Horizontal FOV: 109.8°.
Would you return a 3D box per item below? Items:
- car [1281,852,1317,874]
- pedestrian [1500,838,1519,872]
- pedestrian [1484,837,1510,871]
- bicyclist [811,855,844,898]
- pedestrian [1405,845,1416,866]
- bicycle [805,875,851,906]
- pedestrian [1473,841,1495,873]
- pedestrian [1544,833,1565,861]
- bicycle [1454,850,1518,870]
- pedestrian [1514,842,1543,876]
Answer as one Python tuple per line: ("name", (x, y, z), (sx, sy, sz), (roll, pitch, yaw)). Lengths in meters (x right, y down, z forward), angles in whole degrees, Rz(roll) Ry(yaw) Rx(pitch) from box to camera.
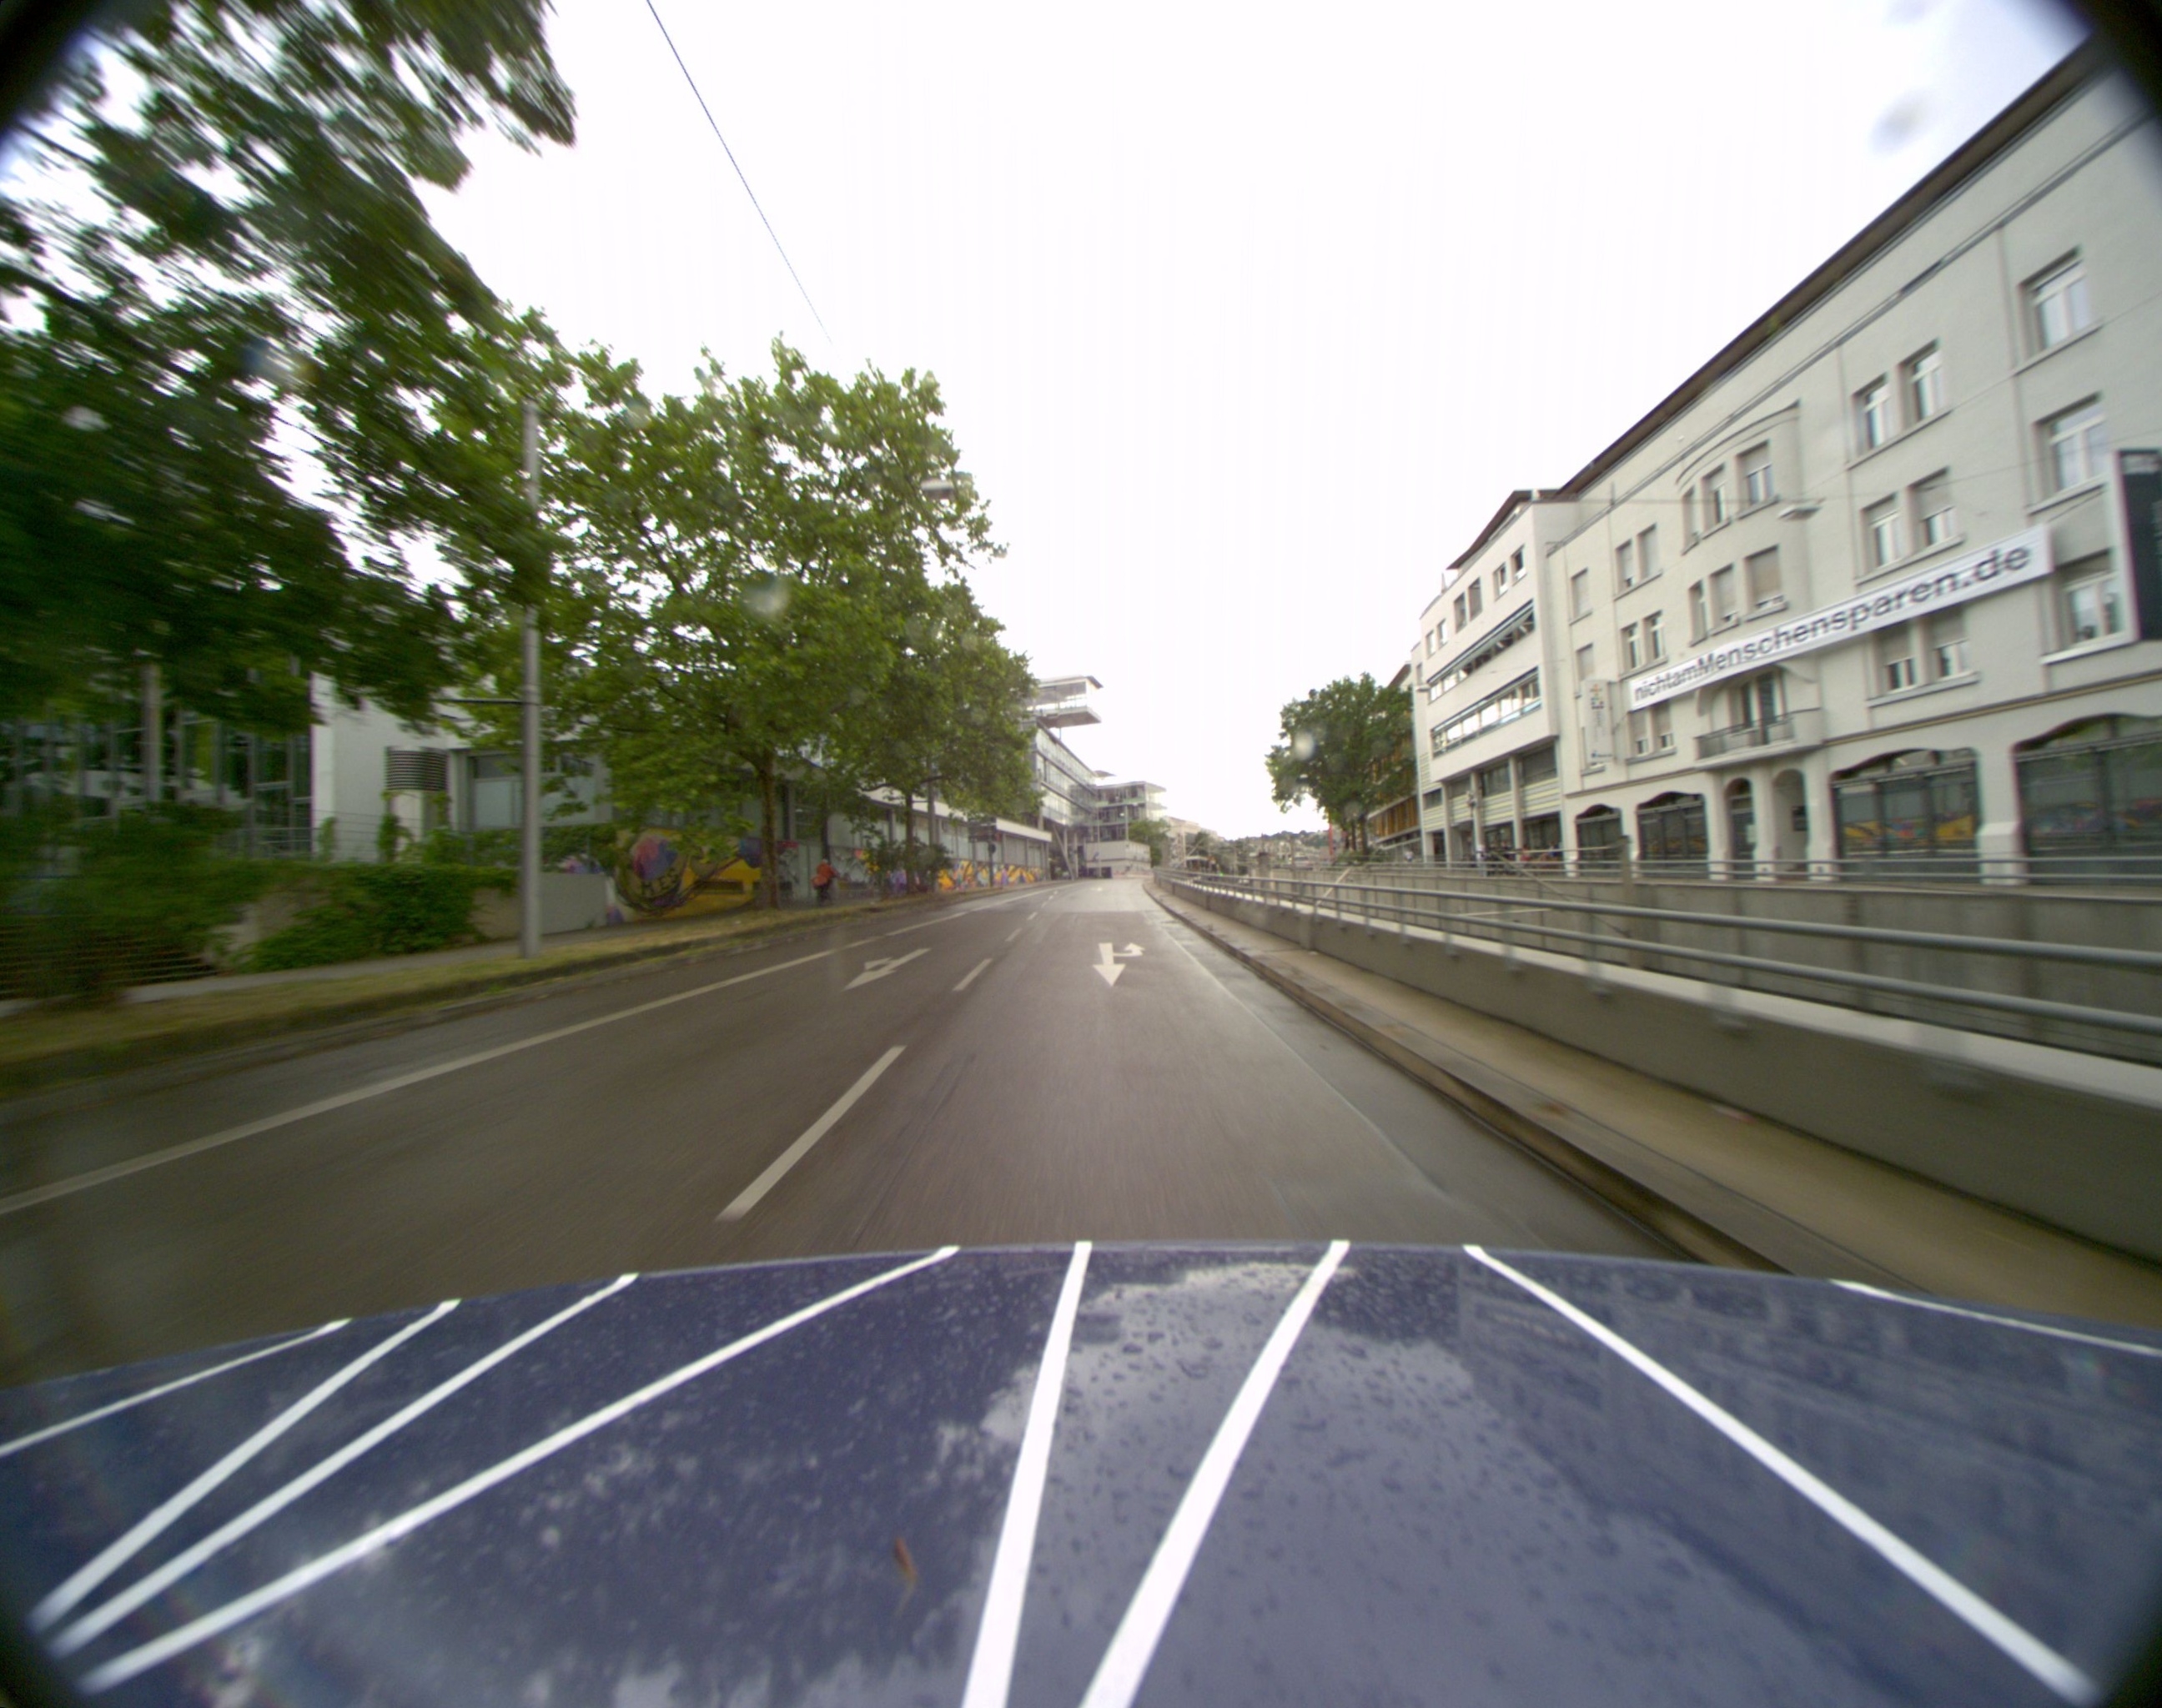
("car", (18.477, 0.756, 64.564), (1.841, 1.702, 4.579), (-2, -1, 3))
("pedestrian", (22.374, 0.063, 39.676), (0.675, 1.711, 0.608), (-2, -1, -39))
("pedestrian", (22.383, -0.003, 40.893), (0.674, 1.774, 0.941), (-3, -1, -14))
("bicyclist", (-10.009, 0.874, 30.043), (0.808, 1.618, 1.047), (-2, 0, 8))
("pedestrian", (28.543, 0.124, 65.899), (0.666, 1.838, 0.831), (-1, -1, 10))
("bicycle", (-9.975, 1.417, 30.062), (0.808, 1.105, 2.199), (-2, 0, 8))
("pedestrian", (21.273, 0.173, 40.123), (0.675, 1.633, 0.793), (-2, -1, -42))
("pedestrian", (24.443, -0.335, 39.252), (0.608, 1.410, 0.674), (-3, -1, 6))
("bicycle", (24.009, 0.328, 45.186), (1.696, 1.037, 4.523), (-3, 0, 5))
("pedestrian", (21.803, 0.242, 37.005), (0.674, 1.606, 0.941), (-3, -1, -14))
